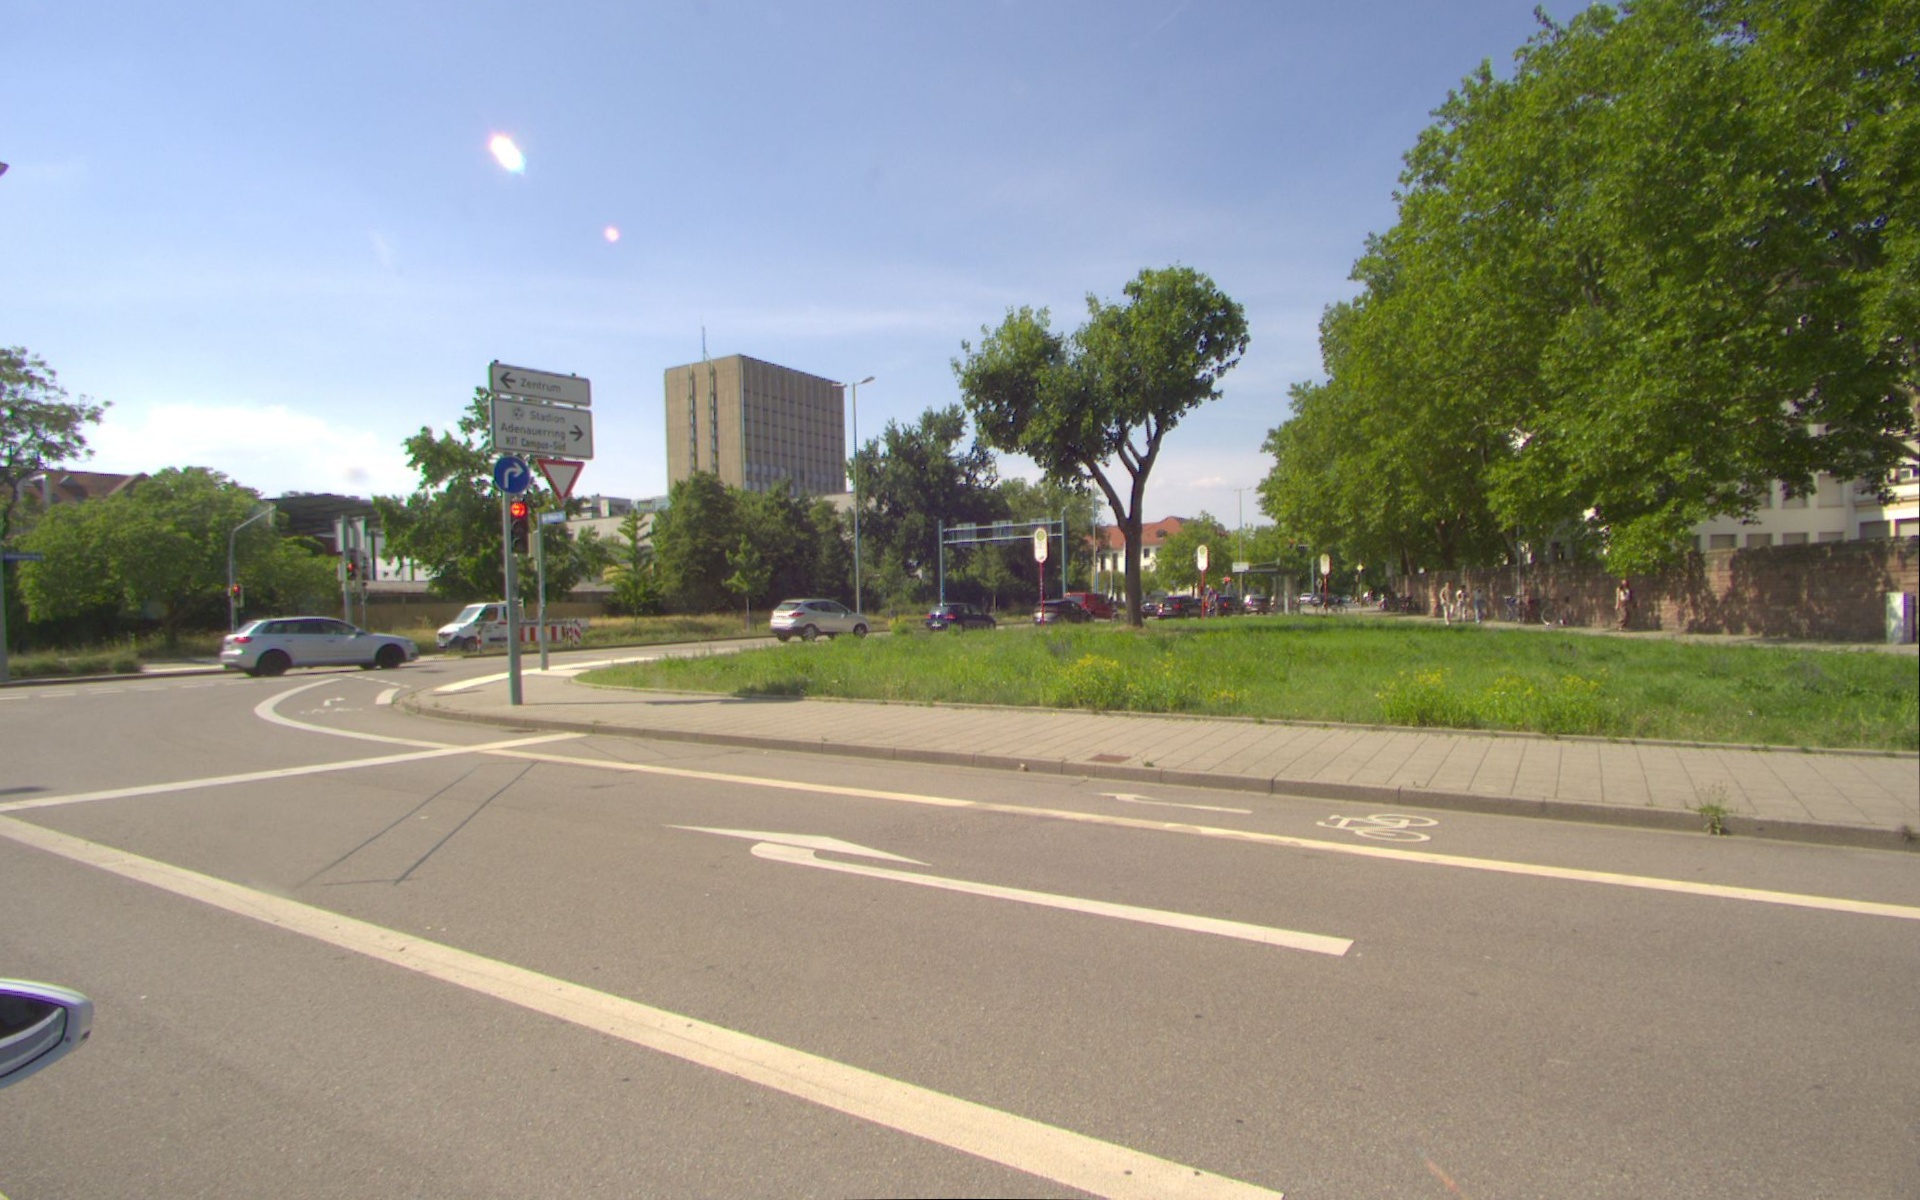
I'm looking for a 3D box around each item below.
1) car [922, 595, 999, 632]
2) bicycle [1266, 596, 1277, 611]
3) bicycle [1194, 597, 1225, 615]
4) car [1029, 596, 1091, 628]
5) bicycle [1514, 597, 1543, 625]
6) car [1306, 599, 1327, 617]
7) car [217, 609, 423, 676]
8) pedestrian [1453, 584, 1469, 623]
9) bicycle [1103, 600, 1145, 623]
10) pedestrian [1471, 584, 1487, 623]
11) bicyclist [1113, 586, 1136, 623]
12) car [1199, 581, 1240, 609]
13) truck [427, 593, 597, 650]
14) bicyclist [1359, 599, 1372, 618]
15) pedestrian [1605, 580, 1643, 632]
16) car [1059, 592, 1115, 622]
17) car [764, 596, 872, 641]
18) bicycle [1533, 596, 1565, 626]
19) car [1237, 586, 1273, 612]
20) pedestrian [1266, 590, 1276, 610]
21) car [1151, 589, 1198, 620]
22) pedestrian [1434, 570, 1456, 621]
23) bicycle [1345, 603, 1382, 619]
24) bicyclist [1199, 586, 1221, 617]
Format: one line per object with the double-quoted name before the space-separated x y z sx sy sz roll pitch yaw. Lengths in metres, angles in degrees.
"car" 0.080 0.613 47.003 1.564 1.612 3.972 -1 1 37
"bicycle" 24.103 0.269 77.495 0.552 1.066 1.318 -1 1 30
"bicycle" 13.664 0.330 54.752 1.912 0.899 0.679 -2 1 -42
"car" 5.537 0.636 55.254 1.564 1.612 3.972 -1 1 37
"bicycle" 21.790 0.416 38.397 0.439 1.047 1.447 -1 1 6
"car" 43.185 1.029 121.272 1.968 2.039 3.987 -1 -2 26
"car" -16.179 1.019 25.463 1.567 1.439 4.135 0 1 42
"pedestrian" 20.766 0.152 41.534 0.515 1.599 0.701 -1 1 23
"bicycle" 9.339 0.686 56.766 0.838 1.233 3.462 -1 -2 37
"pedestrian" 21.294 0.134 41.092 0.515 1.599 0.701 -1 1 23
"bicyclist" 9.335 0.257 56.764 0.769 2.039 1.265 -1 -2 38
"car" 19.561 -0.407 75.309 1.970 2.041 3.980 -1 1 30
"truck" -20.627 0.926 46.523 2.379 2.387 7.007 -1 1 33
"bicyclist" 44.068 0.968 108.853 1.160 2.039 1.094 -1 -1 29
"pedestrian" 20.381 0.183 30.756 0.493 1.569 0.913 -1 1 -4
"car" 8.240 0.444 64.624 1.950 1.821 4.587 -1 1 31
"car" -5.667 0.706 40.309 1.693 1.640 4.178 0 1 44
"bicycle" 21.629 0.393 36.794 0.439 1.047 1.447 -1 1 6
"car" 24.278 -0.088 82.397 1.970 2.041 3.980 -1 1 30
"pedestrian" 24.091 -0.002 77.484 0.552 1.458 0.729 0 1 30
"car" 14.671 0.296 68.229 1.970 2.041 3.980 -1 1 30
"pedestrian" 19.723 -0.170 40.730 0.513 2.040 0.596 -2 1 -9
"bicycle" 43.890 1.195 108.936 3.583 1.626 1.092 -1 -2 29
"bicyclist" 13.682 0.097 54.768 1.068 1.659 0.486 -1 1 29
